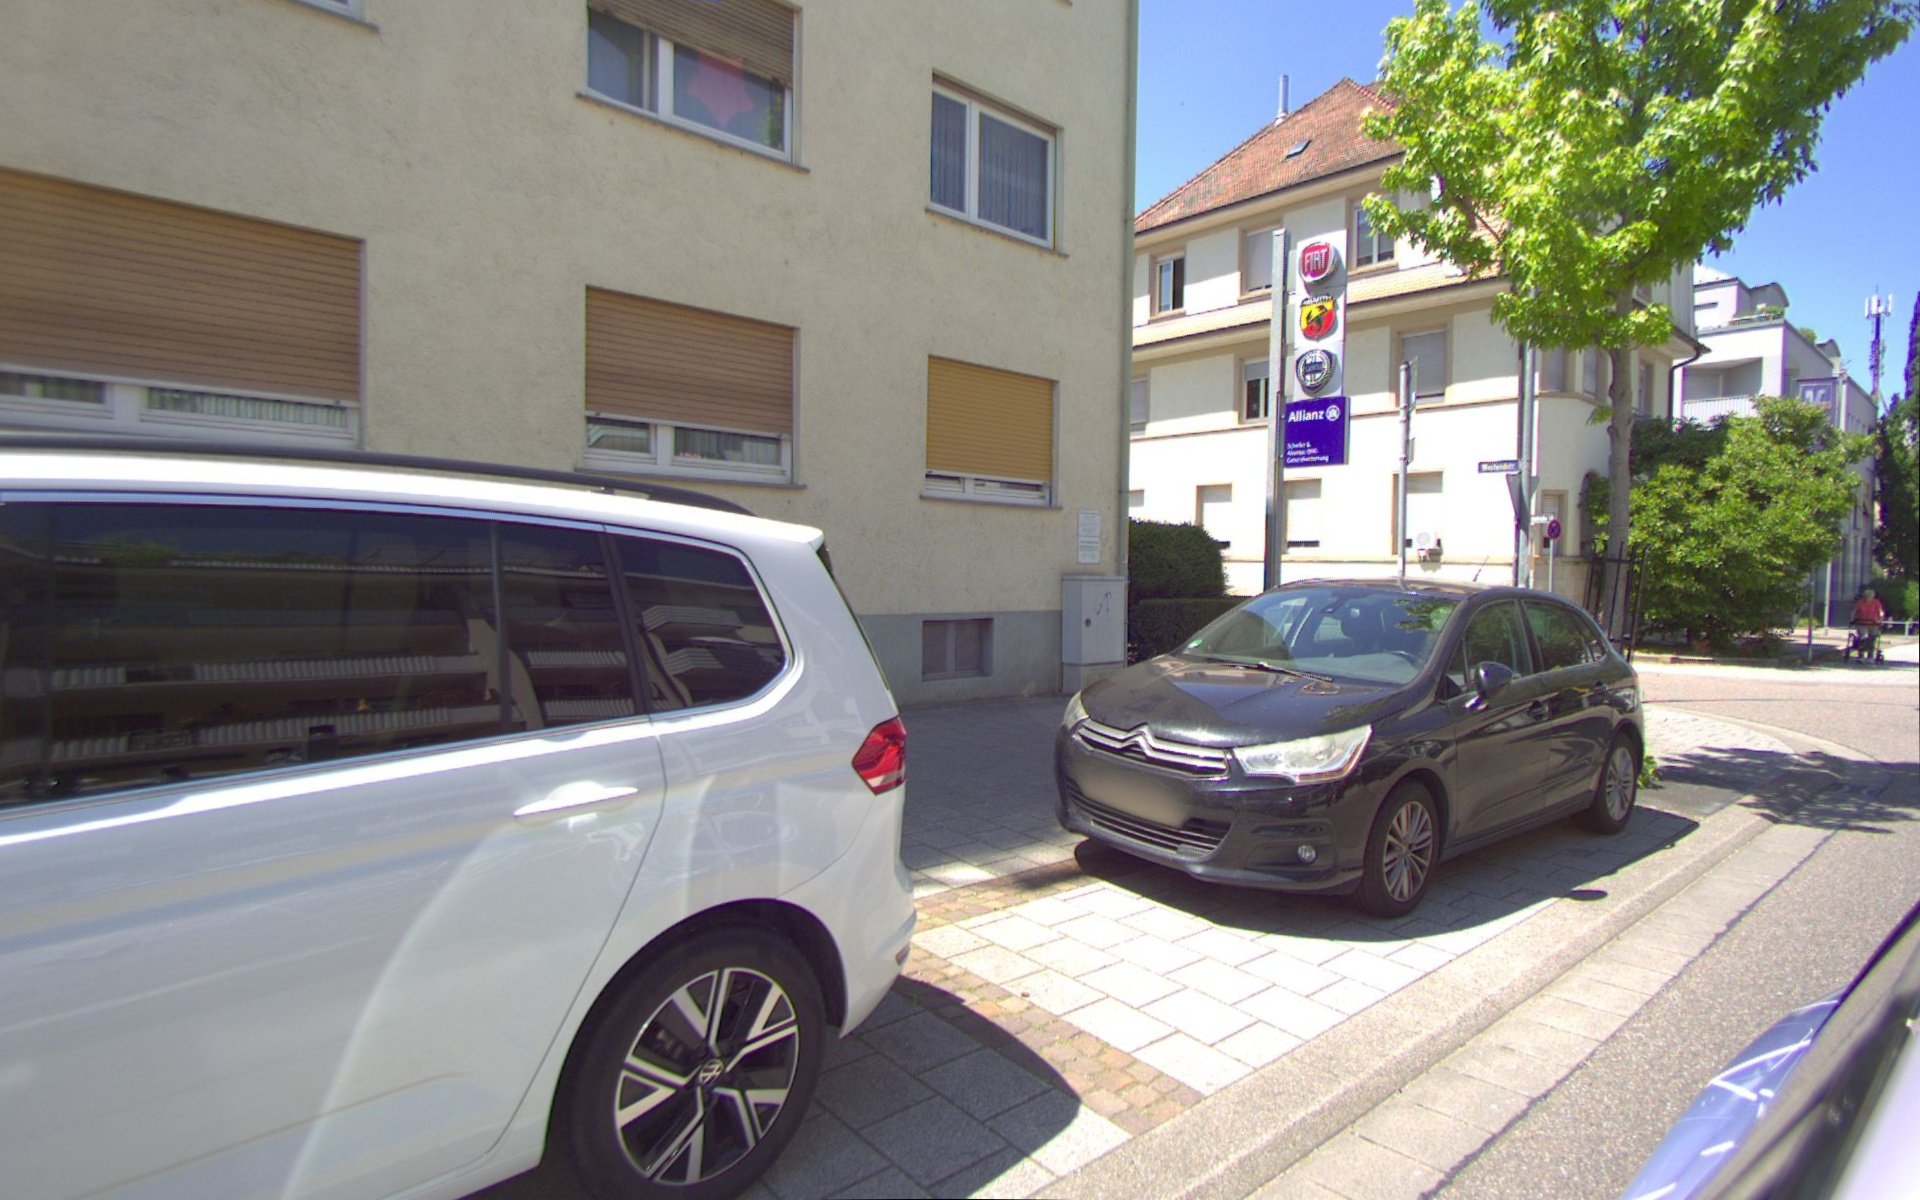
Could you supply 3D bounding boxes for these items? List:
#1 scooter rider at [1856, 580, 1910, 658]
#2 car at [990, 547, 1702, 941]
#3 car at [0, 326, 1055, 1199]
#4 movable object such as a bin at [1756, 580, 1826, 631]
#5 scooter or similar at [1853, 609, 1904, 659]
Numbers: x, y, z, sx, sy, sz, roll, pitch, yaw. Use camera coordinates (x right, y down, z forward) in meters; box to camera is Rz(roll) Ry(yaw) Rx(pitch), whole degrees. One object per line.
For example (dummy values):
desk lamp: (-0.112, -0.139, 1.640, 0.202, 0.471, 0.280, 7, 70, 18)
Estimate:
scooter rider: (19.450, 0.386, 21.323, 0.757, 1.567, 0.717, 0, 2, -43)
car: (2.483, 0.497, 5.890, 4.463, 1.456, 1.901, 0, 2, -39)
car: (-2.077, 0.426, 1.940, 4.612, 1.695, 1.899, 0, 3, -44)
movable object such as a bin: (26.322, 0.163, 32.062, 1.356, 1.476, 1.372, 0, 5, -39)
scooter or similar: (18.976, 0.692, 20.905, 0.741, 0.974, 0.664, 0, 3, -41)
